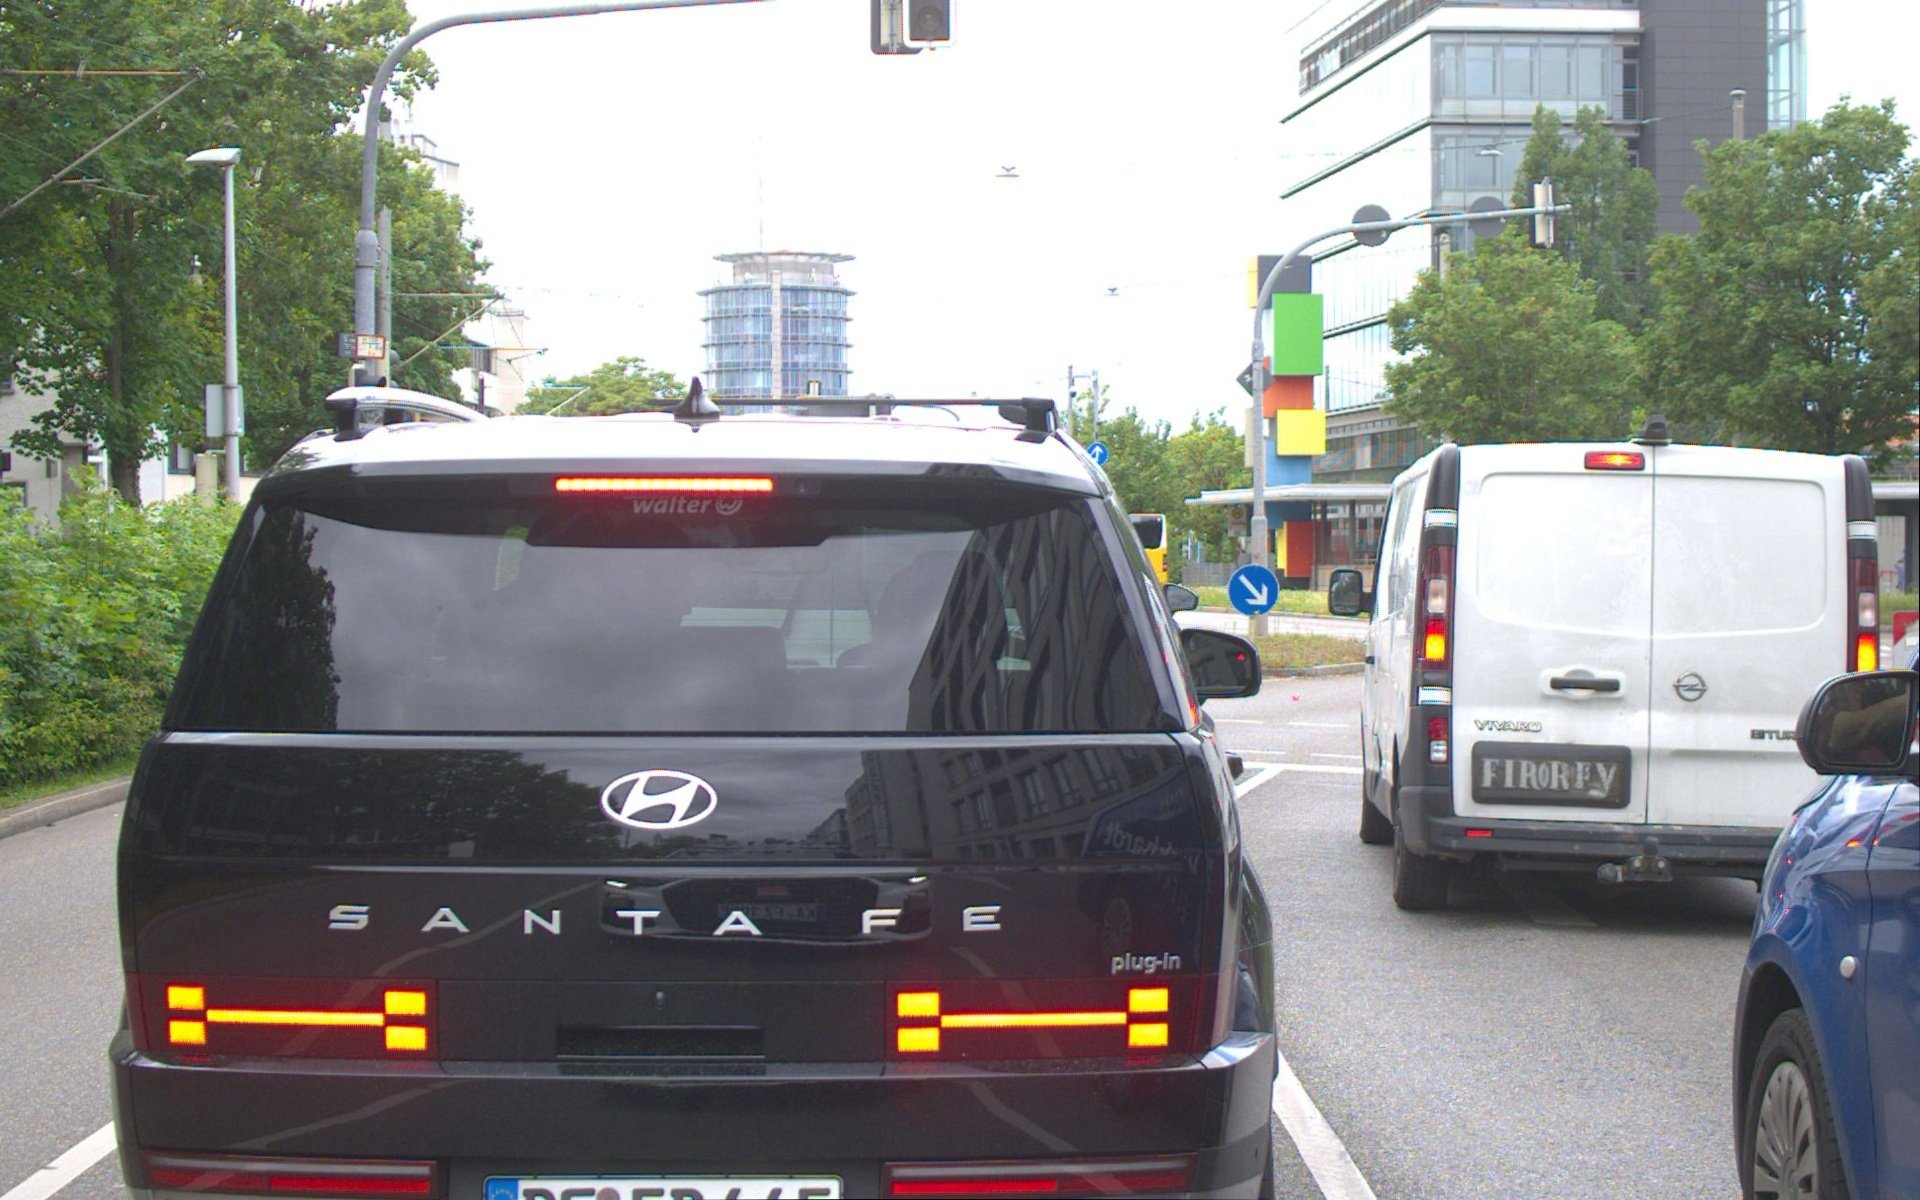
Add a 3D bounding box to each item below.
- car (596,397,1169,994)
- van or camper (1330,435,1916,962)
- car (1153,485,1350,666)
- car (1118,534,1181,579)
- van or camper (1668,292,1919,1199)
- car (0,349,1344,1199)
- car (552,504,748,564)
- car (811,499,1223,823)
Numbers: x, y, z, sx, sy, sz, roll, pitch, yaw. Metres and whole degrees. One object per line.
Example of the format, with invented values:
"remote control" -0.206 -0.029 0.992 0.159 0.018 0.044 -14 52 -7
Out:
"car" -0.281 0.287 13.468 1.915 1.996 3.880 0 1 -1
"van or camper" 2.797 0.334 15.559 1.994 2.007 4.652 1 1 3
"car" 3.379 -0.287 40.508 1.993 2.007 4.000 0 0 1
"car" 7.246 -1.662 131.825 1.993 1.678 4.000 0 0 -3
"van or camper" 2.379 0.502 4.403 1.859 1.904 5.032 0 1 -1
"car" -0.426 0.502 6.662 1.869 1.754 3.880 0 1 -1
"car" -8.490 -1.793 94.138 5.281 1.590 2.000 0 0 -6
"car" 0.458 0.308 20.541 1.776 1.711 4.336 1 0 10
